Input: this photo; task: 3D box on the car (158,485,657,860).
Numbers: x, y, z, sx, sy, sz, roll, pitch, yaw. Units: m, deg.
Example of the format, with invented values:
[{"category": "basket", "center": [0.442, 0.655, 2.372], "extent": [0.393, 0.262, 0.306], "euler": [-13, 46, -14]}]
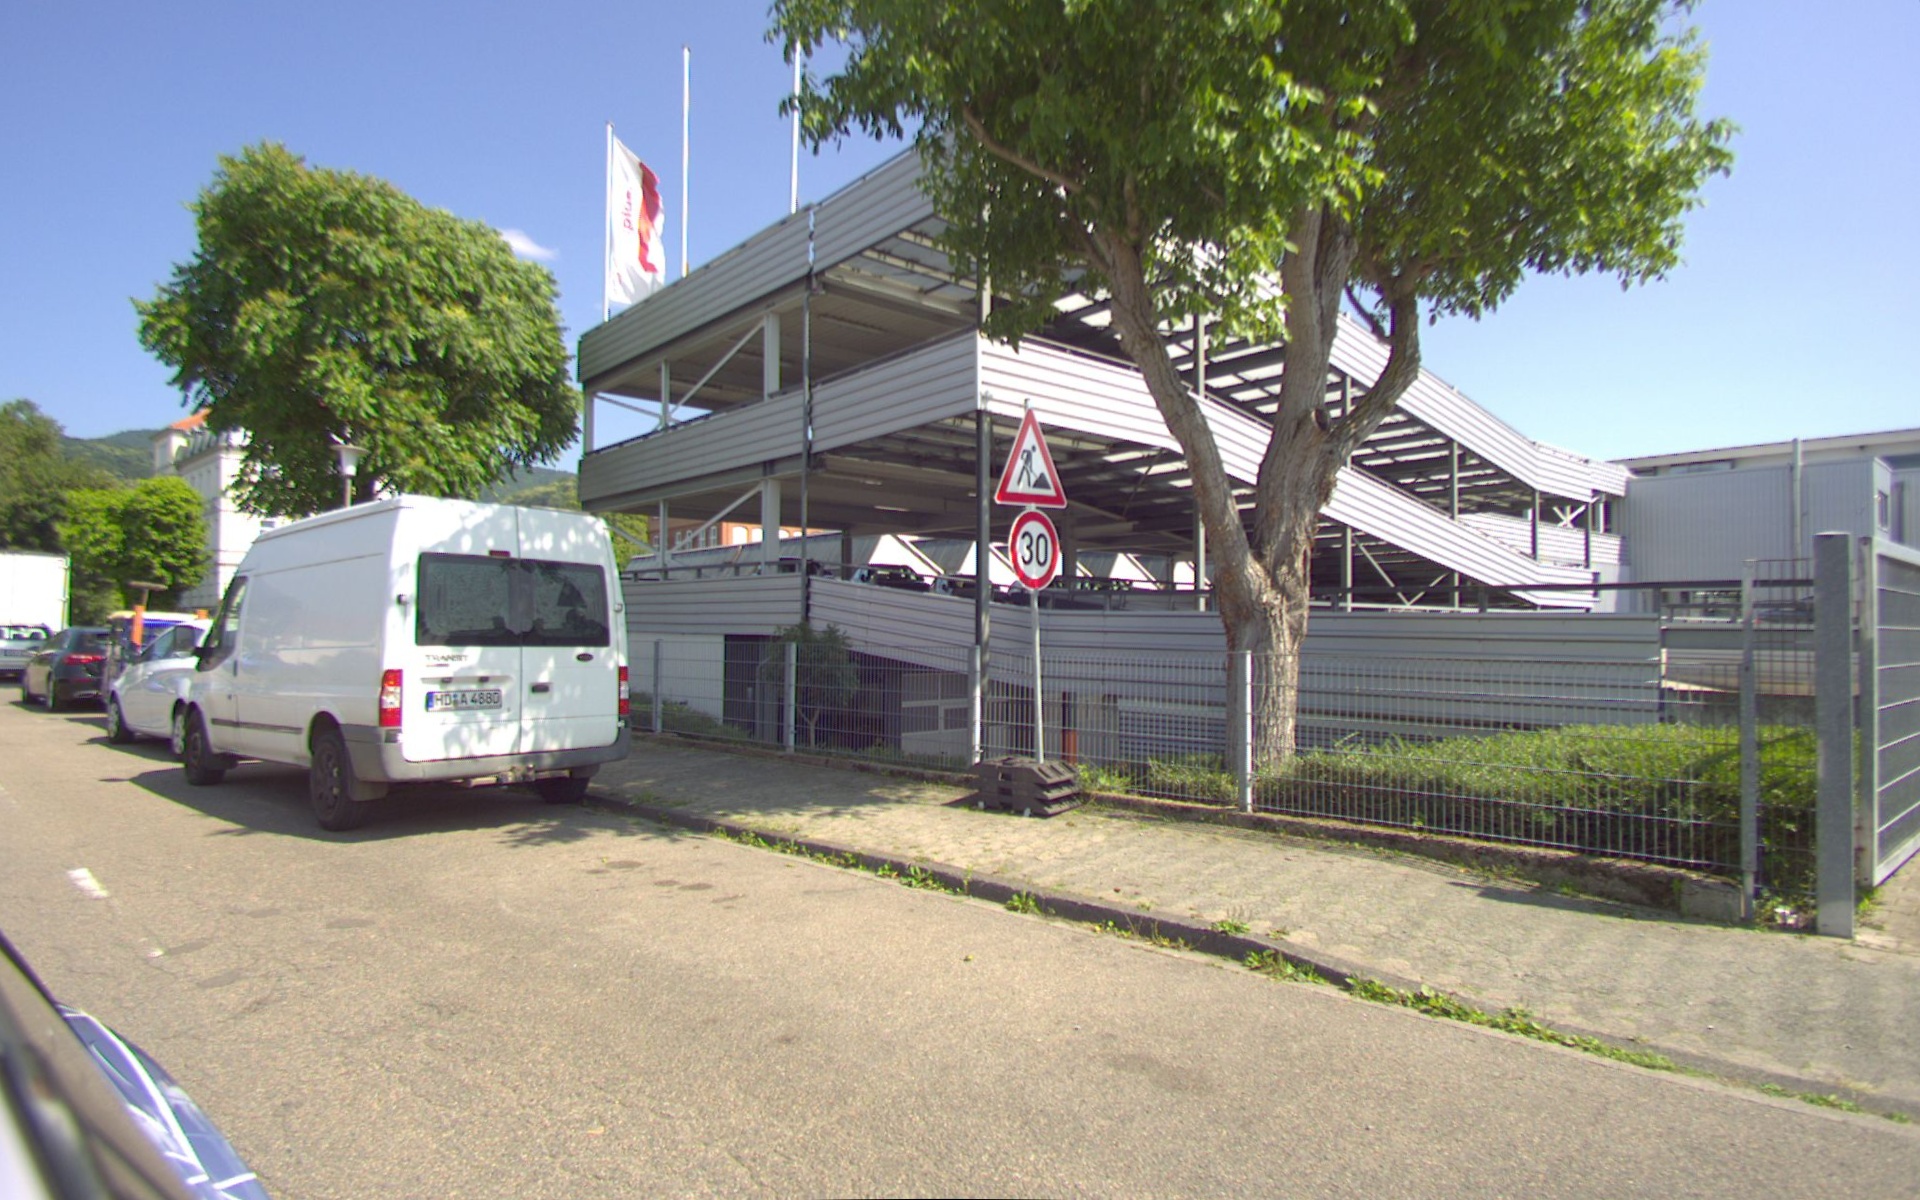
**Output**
[{"category": "car", "center": [-5.062, 0.555, 8.896], "extent": [5.224, 2.384, 1.985], "euler": [-1, -4, 40]}]

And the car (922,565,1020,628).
[{"category": "car", "center": [0.236, -0.119, 29.697], "extent": [1.787, 1.684, 4.012], "euler": [1, 0, -15]}]

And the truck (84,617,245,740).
[{"category": "truck", "center": [-11.726, 1.099, 14.873], "extent": [3.138, 1.634, 1.127], "euler": [-1, -4, 39]}]

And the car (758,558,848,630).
[{"category": "car", "center": [-4.089, -0.156, 25.897], "extent": [1.787, 1.684, 4.012], "euler": [1, 0, -15]}]

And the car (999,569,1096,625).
[{"category": "car", "center": [2.733, -0.109, 32.548], "extent": [1.787, 1.684, 4.012], "euler": [1, 0, -15]}]

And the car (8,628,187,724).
[{"category": "car", "center": [-15.303, 1.273, 17.884], "extent": [4.110, 1.474, 1.687], "euler": [-1, -4, 40]}]

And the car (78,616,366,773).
[{"category": "car", "center": [-9.122, 1.062, 12.420], "extent": [3.966, 1.636, 1.689], "euler": [-1, -4, 37]}]

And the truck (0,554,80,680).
[{"category": "truck", "center": [-28.296, 0.475, 29.658], "extent": [7.125, 3.392, 2.657], "euler": [0, -2, 41]}]

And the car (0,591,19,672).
[{"category": "car", "center": [-34.171, 1.002, 34.628], "extent": [6.918, 2.615, 2.145], "euler": [0, -3, 42]}]

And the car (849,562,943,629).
[{"category": "car", "center": [-1.840, -0.141, 27.889], "extent": [1.787, 1.684, 4.012], "euler": [1, 0, -15]}]

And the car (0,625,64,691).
[{"category": "car", "center": [-23.709, 1.402, 25.184], "extent": [4.311, 1.533, 1.721], "euler": [-1, -4, 44]}]

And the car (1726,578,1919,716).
[{"category": "car", "center": [14.878, 0.787, 15.969], "extent": [1.966, 2.029, 4.012], "euler": [3, -4, -17]}]
